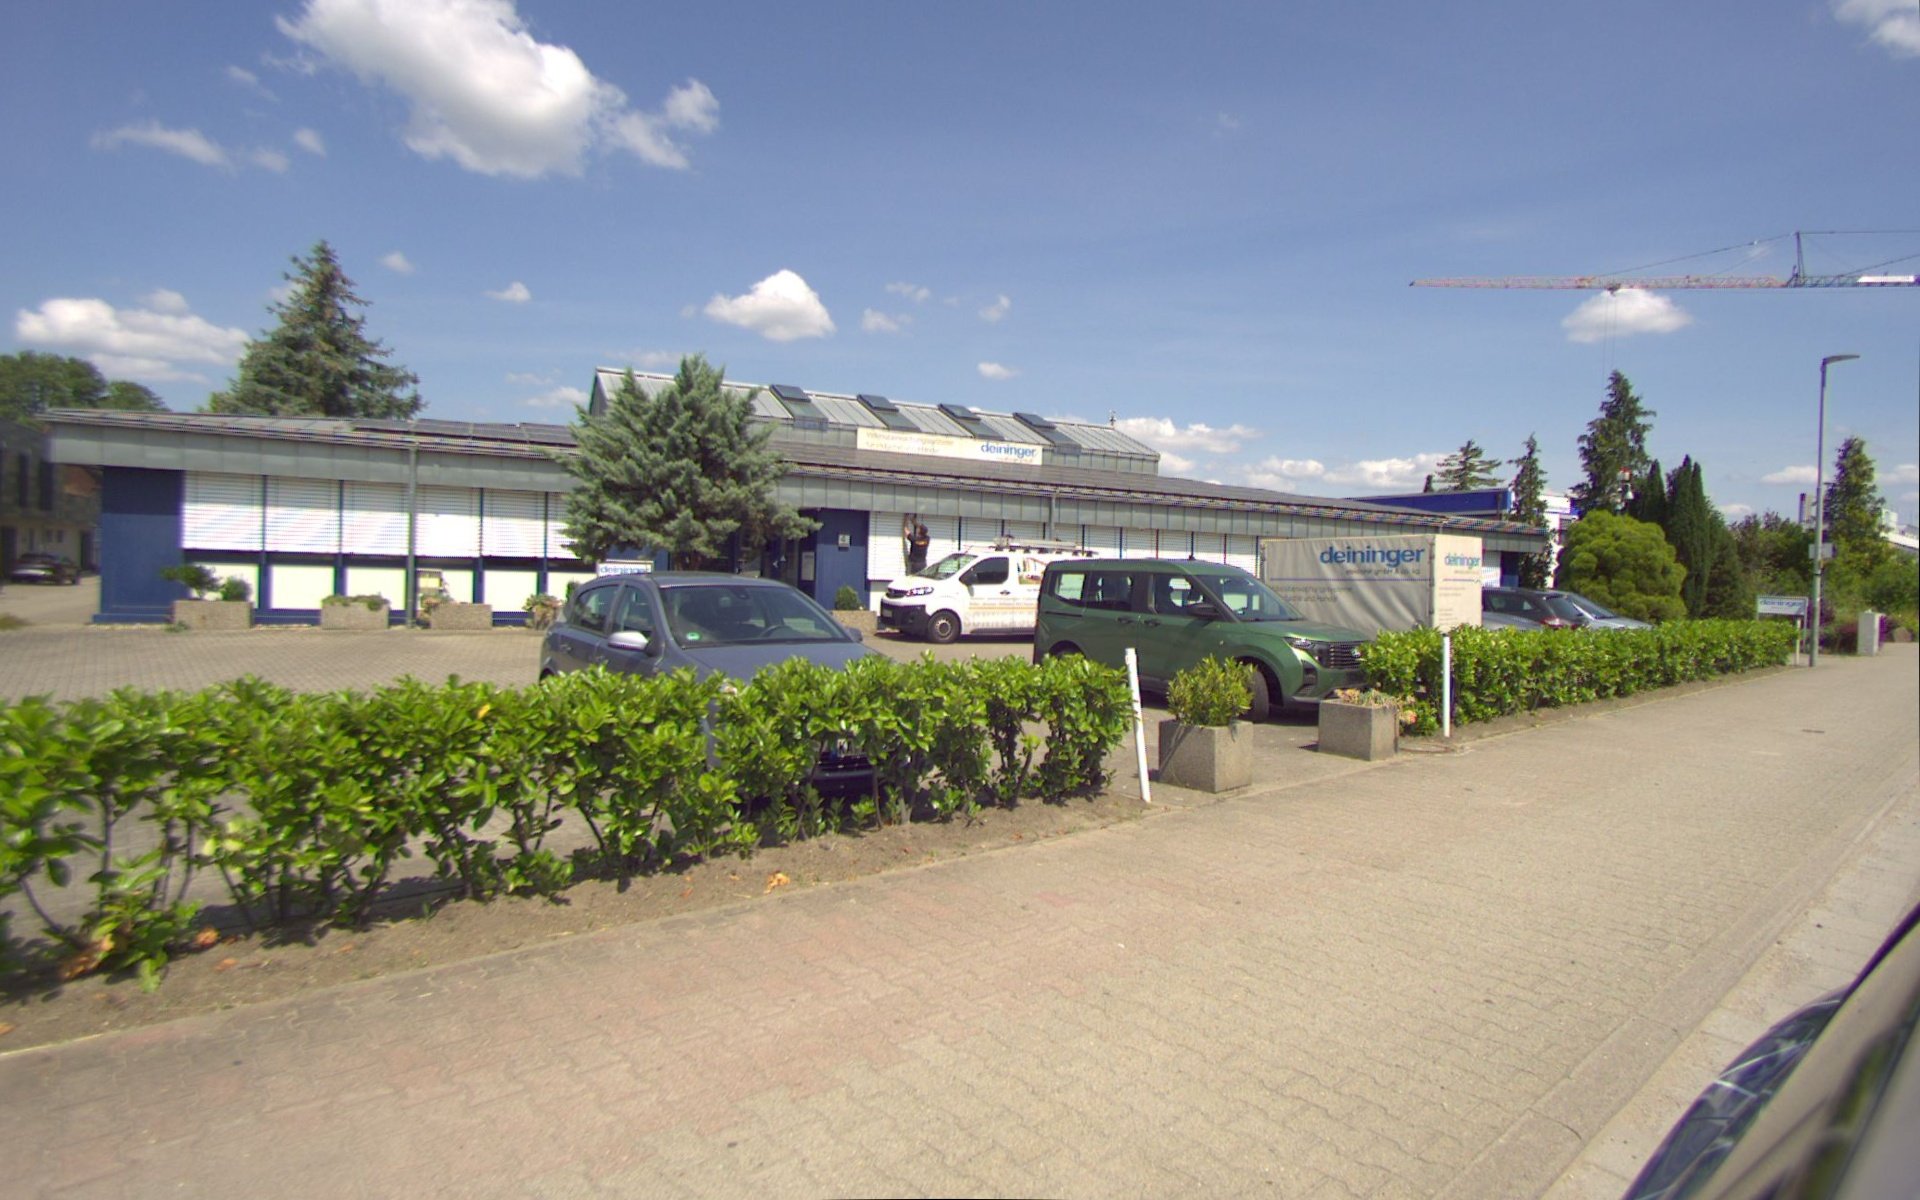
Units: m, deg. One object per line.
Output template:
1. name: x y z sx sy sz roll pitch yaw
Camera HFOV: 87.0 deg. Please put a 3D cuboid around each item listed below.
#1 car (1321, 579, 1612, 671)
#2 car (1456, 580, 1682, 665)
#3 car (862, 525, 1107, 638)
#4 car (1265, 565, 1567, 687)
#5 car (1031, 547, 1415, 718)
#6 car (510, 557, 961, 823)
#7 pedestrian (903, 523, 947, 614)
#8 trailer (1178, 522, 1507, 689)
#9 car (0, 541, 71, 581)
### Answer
1. car: 9.237 0.373 18.740 1.785 1.458 4.479 0 1 -44
2. car: 11.863 0.379 19.863 1.737 1.419 3.363 0 2 -37
3. car: 0.518 -0.412 21.160 4.620 2.151 2.111 0 3 -27
4. car: 7.118 0.293 16.076 4.035 1.593 1.687 4 5 44
5. car: 2.986 0.217 12.229 1.770 1.653 4.220 -3 4 -41
6. car: -1.906 0.454 7.669 1.785 1.474 3.854 0 1 -40
7. pedestrian: -0.771 -0.711 22.253 0.678 1.966 0.717 -2 4 -42
8. trailer: 5.358 0.014 14.573 1.965 2.039 3.995 0 1 -40
9. car: -42.611 -1.764 46.674 1.962 1.772 4.001 0 1 -34
